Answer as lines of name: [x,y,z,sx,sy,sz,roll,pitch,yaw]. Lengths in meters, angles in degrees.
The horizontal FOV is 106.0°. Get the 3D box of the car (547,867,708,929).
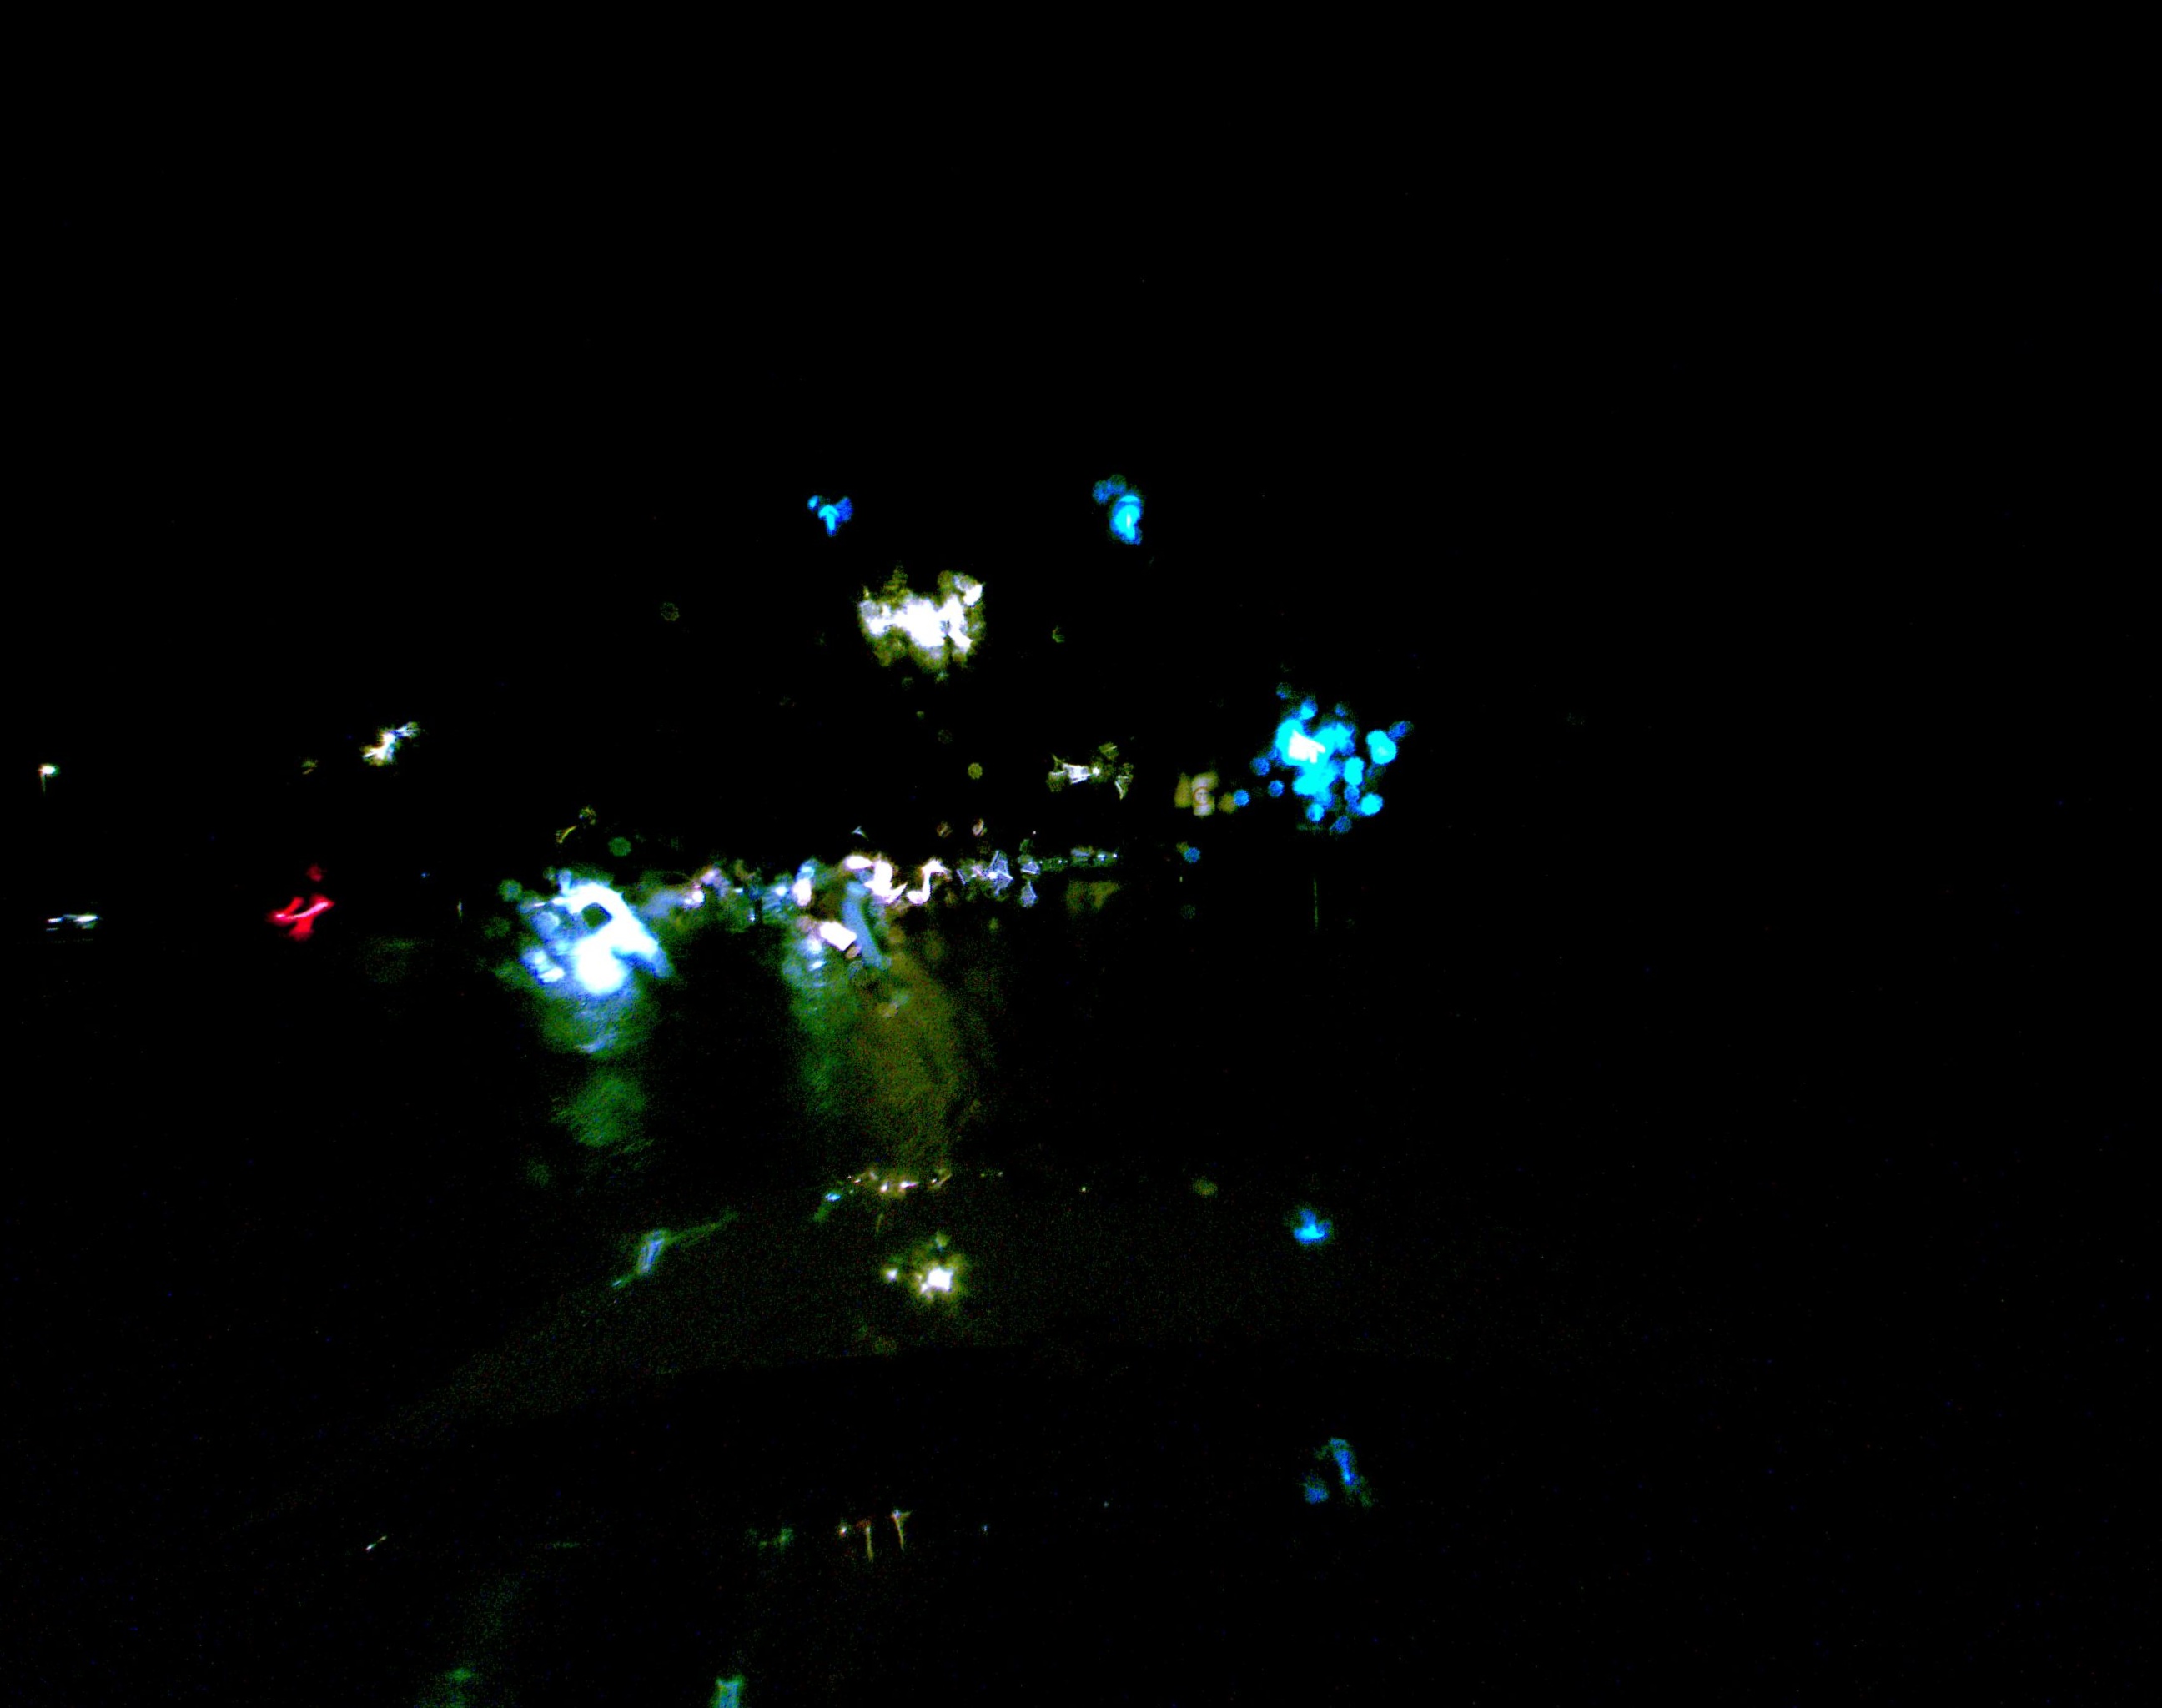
car: [-12.993,1.195,23.771,1.785,1.571,4.916,-1,-1,2]

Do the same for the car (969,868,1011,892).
car: [-6.072,1.758,54.854,1.699,1.534,4.608,-2,-2,7]

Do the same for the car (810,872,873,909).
car: [-11.939,1.799,40.900,1.987,1.720,3.998,-1,-2,-1]

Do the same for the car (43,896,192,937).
car: [-51.936,3.305,44.088,1.985,1.940,4.929,-1,-2,4]

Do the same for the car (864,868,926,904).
car: [-8.433,1.431,37.191,1.577,1.526,3.658,-2,-2,7]

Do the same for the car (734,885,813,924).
car: [-12.590,2.018,33.534,1.661,1.454,3.730,-1,-2,3]

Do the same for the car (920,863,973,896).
car: [-7.399,1.377,45.114,1.708,1.703,4.151,-2,-2,7]

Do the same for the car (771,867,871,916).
car: [-9.254,1.278,29.422,1.690,1.571,4.718,-1,-1,5]

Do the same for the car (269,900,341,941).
car: [-40.009,3.386,42.099,1.726,1.831,3.962,-2,-1,-29]
